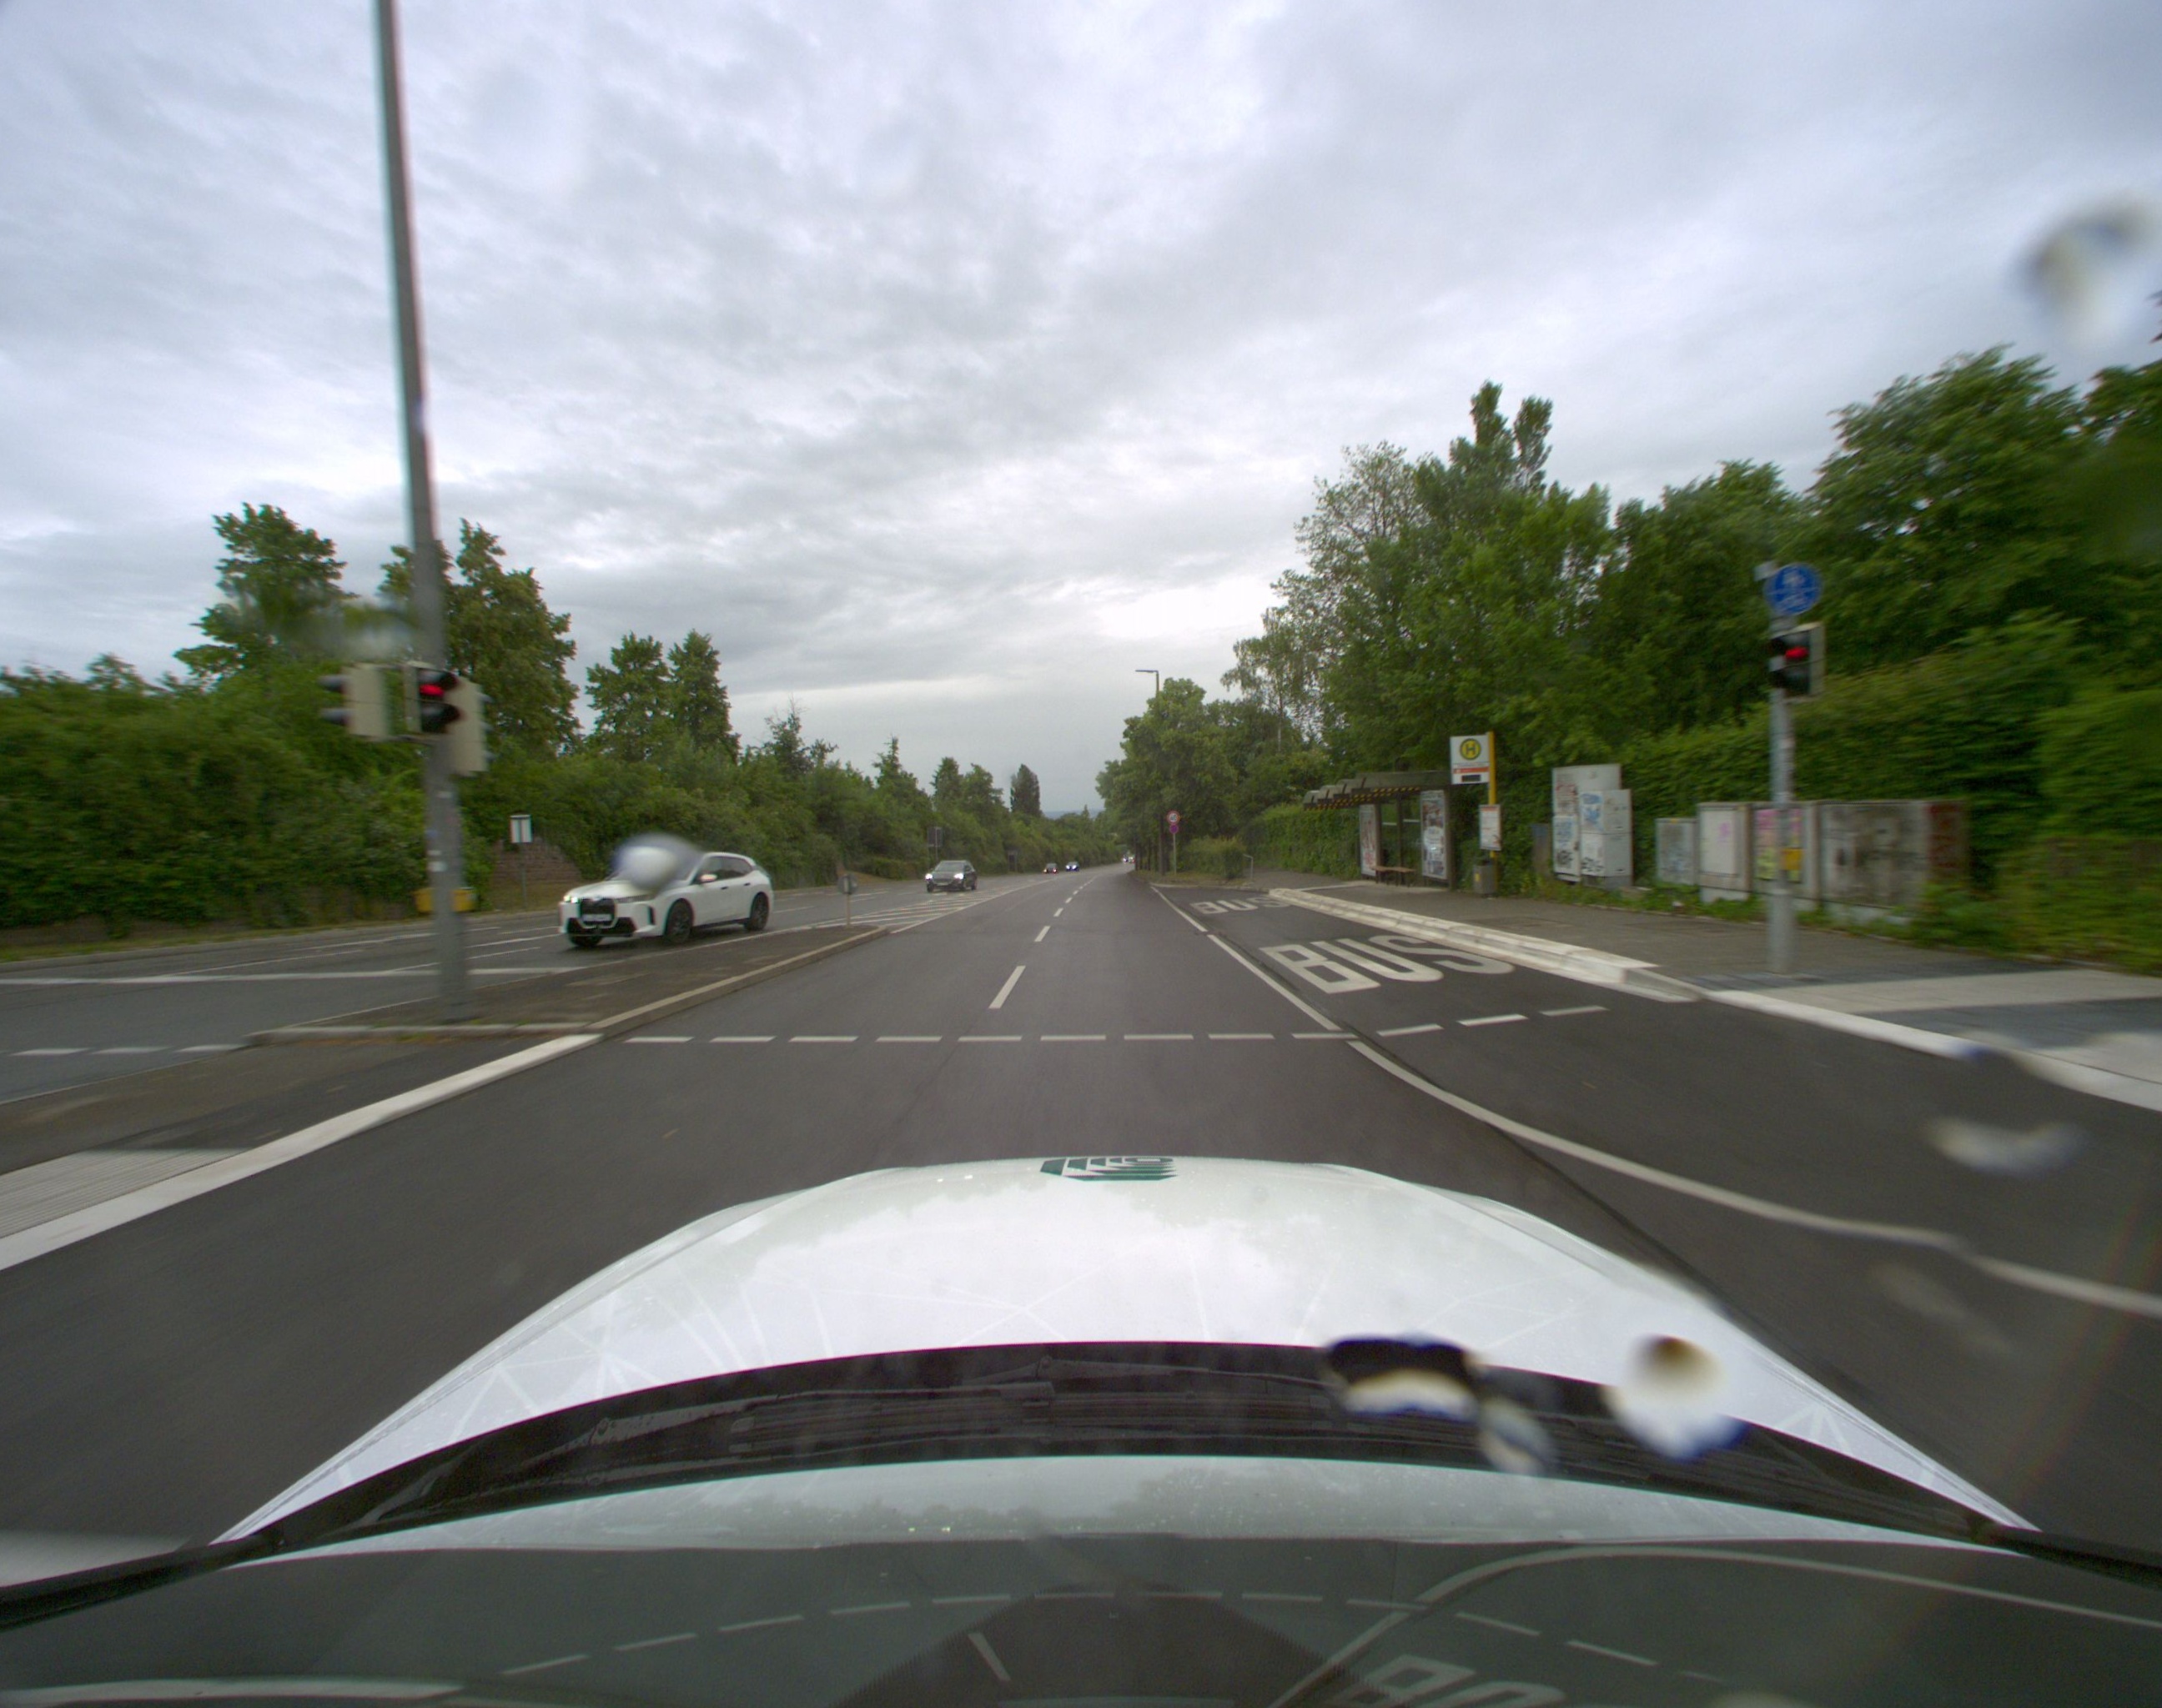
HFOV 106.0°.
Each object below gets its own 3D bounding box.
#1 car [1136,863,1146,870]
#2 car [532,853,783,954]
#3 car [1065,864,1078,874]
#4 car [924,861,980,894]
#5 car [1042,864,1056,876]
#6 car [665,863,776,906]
[{"bbox_3d":[13.715,2.802,185.279,1.934,1.591,3.936,-2,0,8],"label":"car"},{"bbox_3d":[-7.972,0.826,16.034,1.936,1.635,5.012,-2,0,5],"label":"car"},{"bbox_3d":[-1.592,2.584,139.070,1.856,1.589,3.897,1,-1,5],"label":"car"},{"bbox_3d":[-6.200,1.087,39.611,1.771,1.472,4.648,-1,-1,3],"label":"car"},{"bbox_3d":[-4.549,2.287,117.388,1.718,1.565,3.894,1,-1,2],"label":"car"},{"bbox_3d":[-13.212,1.068,30.181,1.811,1.437,4.459,-2,0,4],"label":"car"}]
